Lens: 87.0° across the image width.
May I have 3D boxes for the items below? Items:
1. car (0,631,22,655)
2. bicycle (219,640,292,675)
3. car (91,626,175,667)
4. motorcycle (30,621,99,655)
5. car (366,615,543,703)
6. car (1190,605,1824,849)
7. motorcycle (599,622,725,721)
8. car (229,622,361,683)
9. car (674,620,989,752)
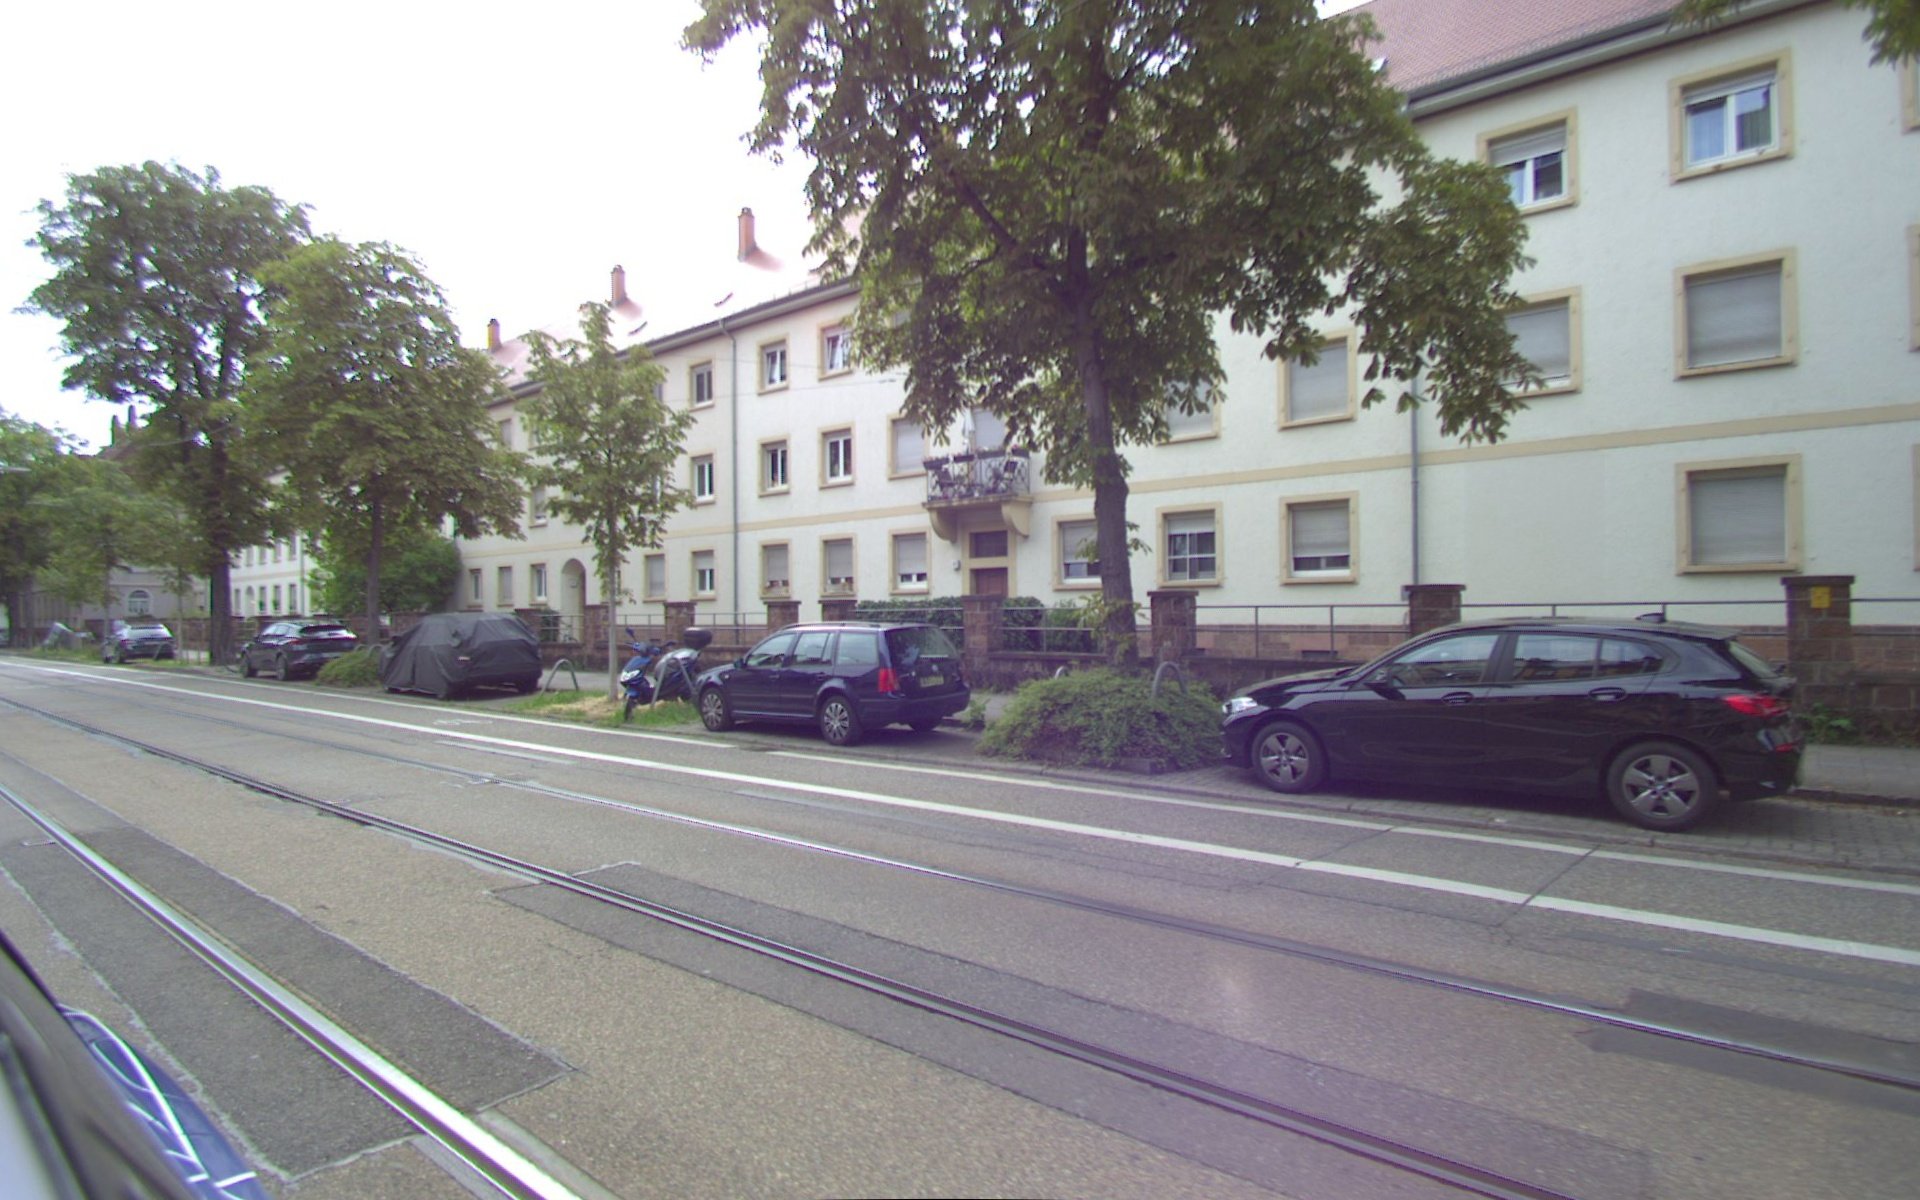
[{"bbox_3d":[-60.632,2.719,63.699,4.294,1.481,1.711,-2,-1,38],"label":"car"},{"bbox_3d":[-20.899,1.696,30.033,0.671,0.978,1.654,-1,-1,31],"label":"bicycle"},{"bbox_3d":[-32.152,1.776,39.311,4.294,1.481,1.680,-1,-1,38],"label":"car"},{"bbox_3d":[-43.889,1.860,49.638,2.278,1.400,0.840,-5,3,-18],"label":"motorcycle"},{"bbox_3d":[-10.498,1.149,20.890,4.297,1.624,1.767,-2,-1,41],"label":"car"},{"bbox_3d":[4.267,0.843,8.351,4.297,1.434,1.679,-2,2,41],"label":"car"},{"bbox_3d":[-4.662,1.084,15.951,0.591,1.269,1.850,-2,4,36],"label":"motorcycle"},{"bbox_3d":[-17.646,1.346,26.781,4.294,1.481,1.680,-2,-1,38],"label":"car"},{"bbox_3d":[-1.827,1.024,13.437,4.297,1.434,1.679,-2,0,41],"label":"car"}]
